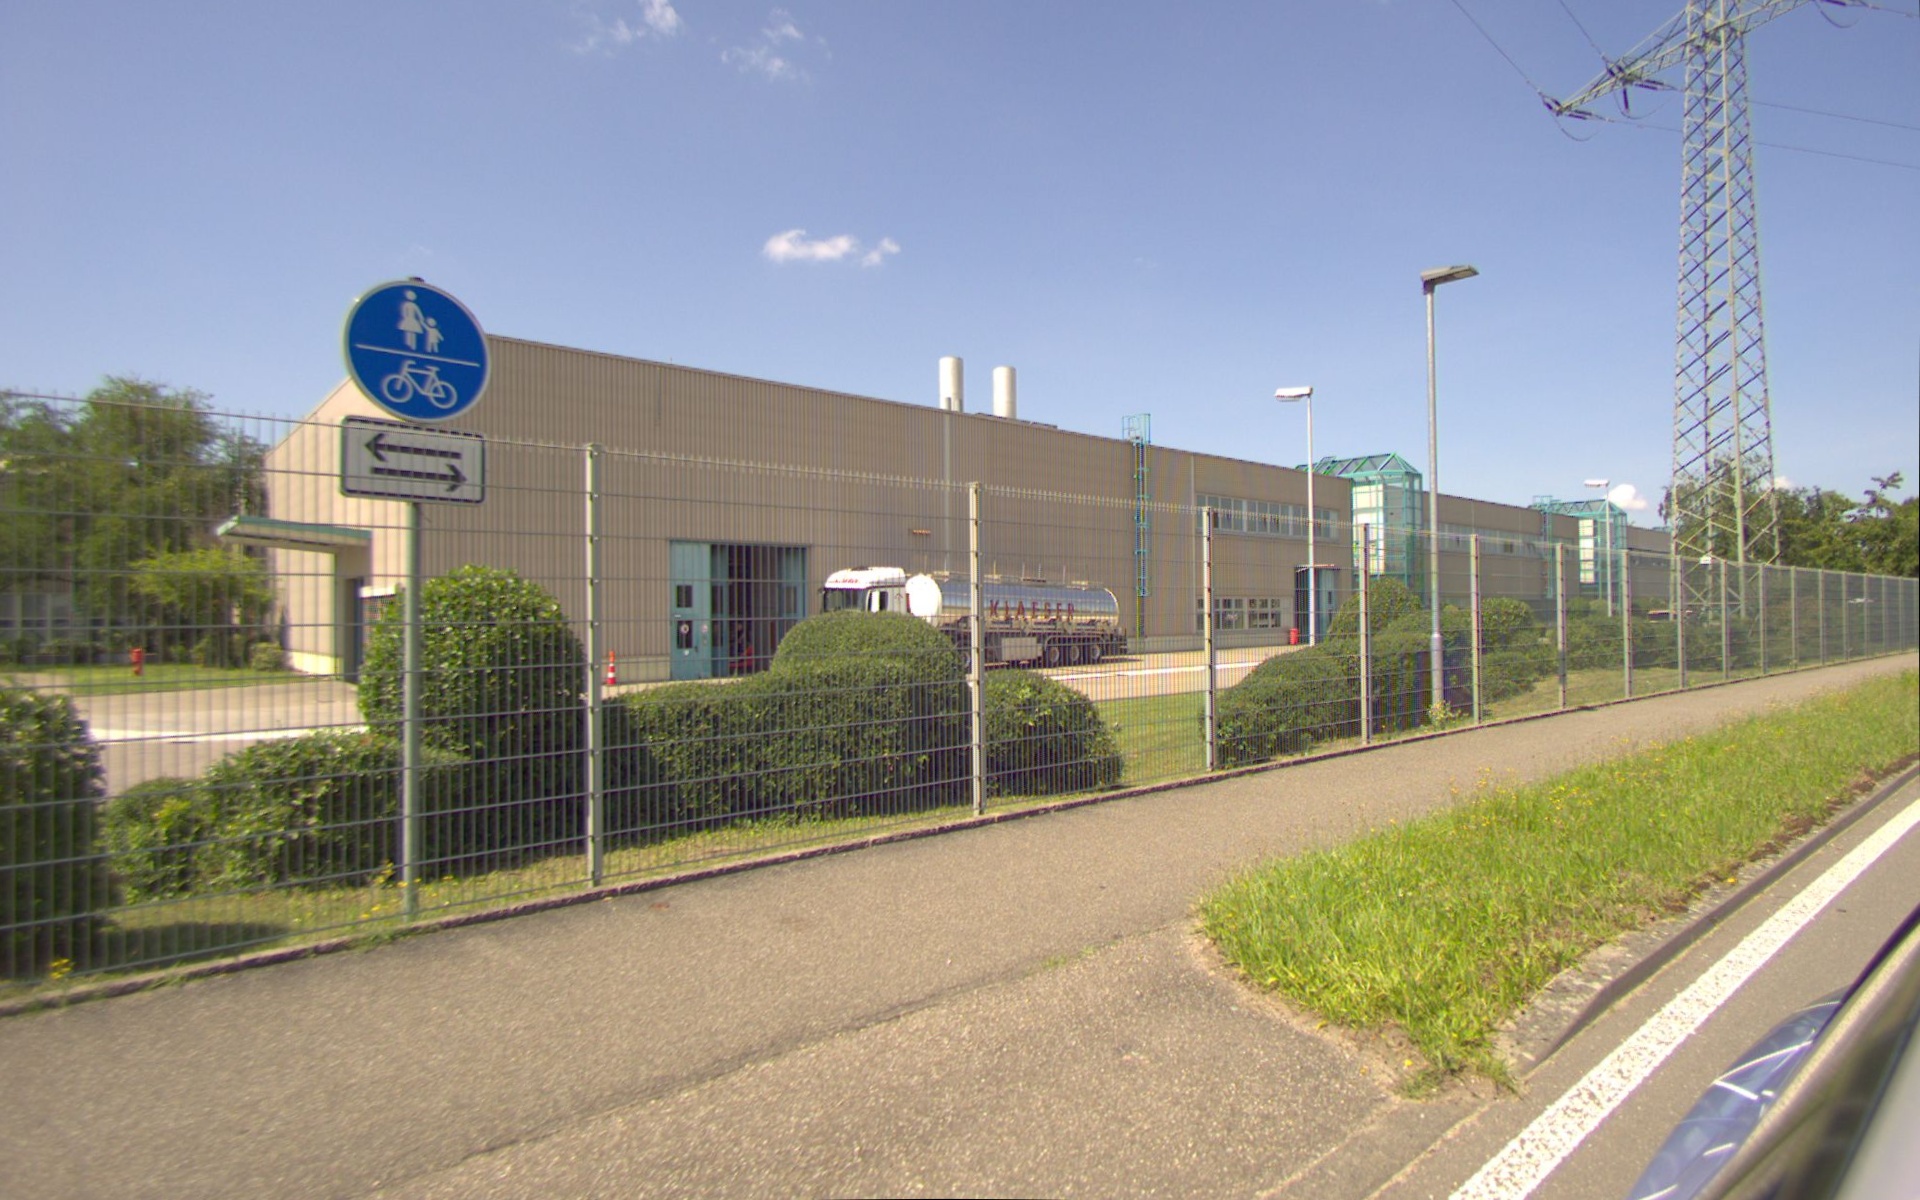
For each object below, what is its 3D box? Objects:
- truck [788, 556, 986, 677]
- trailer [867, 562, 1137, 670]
[{"bbox_3d":[-2.521,0.491,36.276,3.595,3.916,6.305,0,0,44],"label":"truck"},{"bbox_3d":[2.072,0.541,40.781,12.034,3.783,3.593,0,0,-44],"label":"trailer"}]
